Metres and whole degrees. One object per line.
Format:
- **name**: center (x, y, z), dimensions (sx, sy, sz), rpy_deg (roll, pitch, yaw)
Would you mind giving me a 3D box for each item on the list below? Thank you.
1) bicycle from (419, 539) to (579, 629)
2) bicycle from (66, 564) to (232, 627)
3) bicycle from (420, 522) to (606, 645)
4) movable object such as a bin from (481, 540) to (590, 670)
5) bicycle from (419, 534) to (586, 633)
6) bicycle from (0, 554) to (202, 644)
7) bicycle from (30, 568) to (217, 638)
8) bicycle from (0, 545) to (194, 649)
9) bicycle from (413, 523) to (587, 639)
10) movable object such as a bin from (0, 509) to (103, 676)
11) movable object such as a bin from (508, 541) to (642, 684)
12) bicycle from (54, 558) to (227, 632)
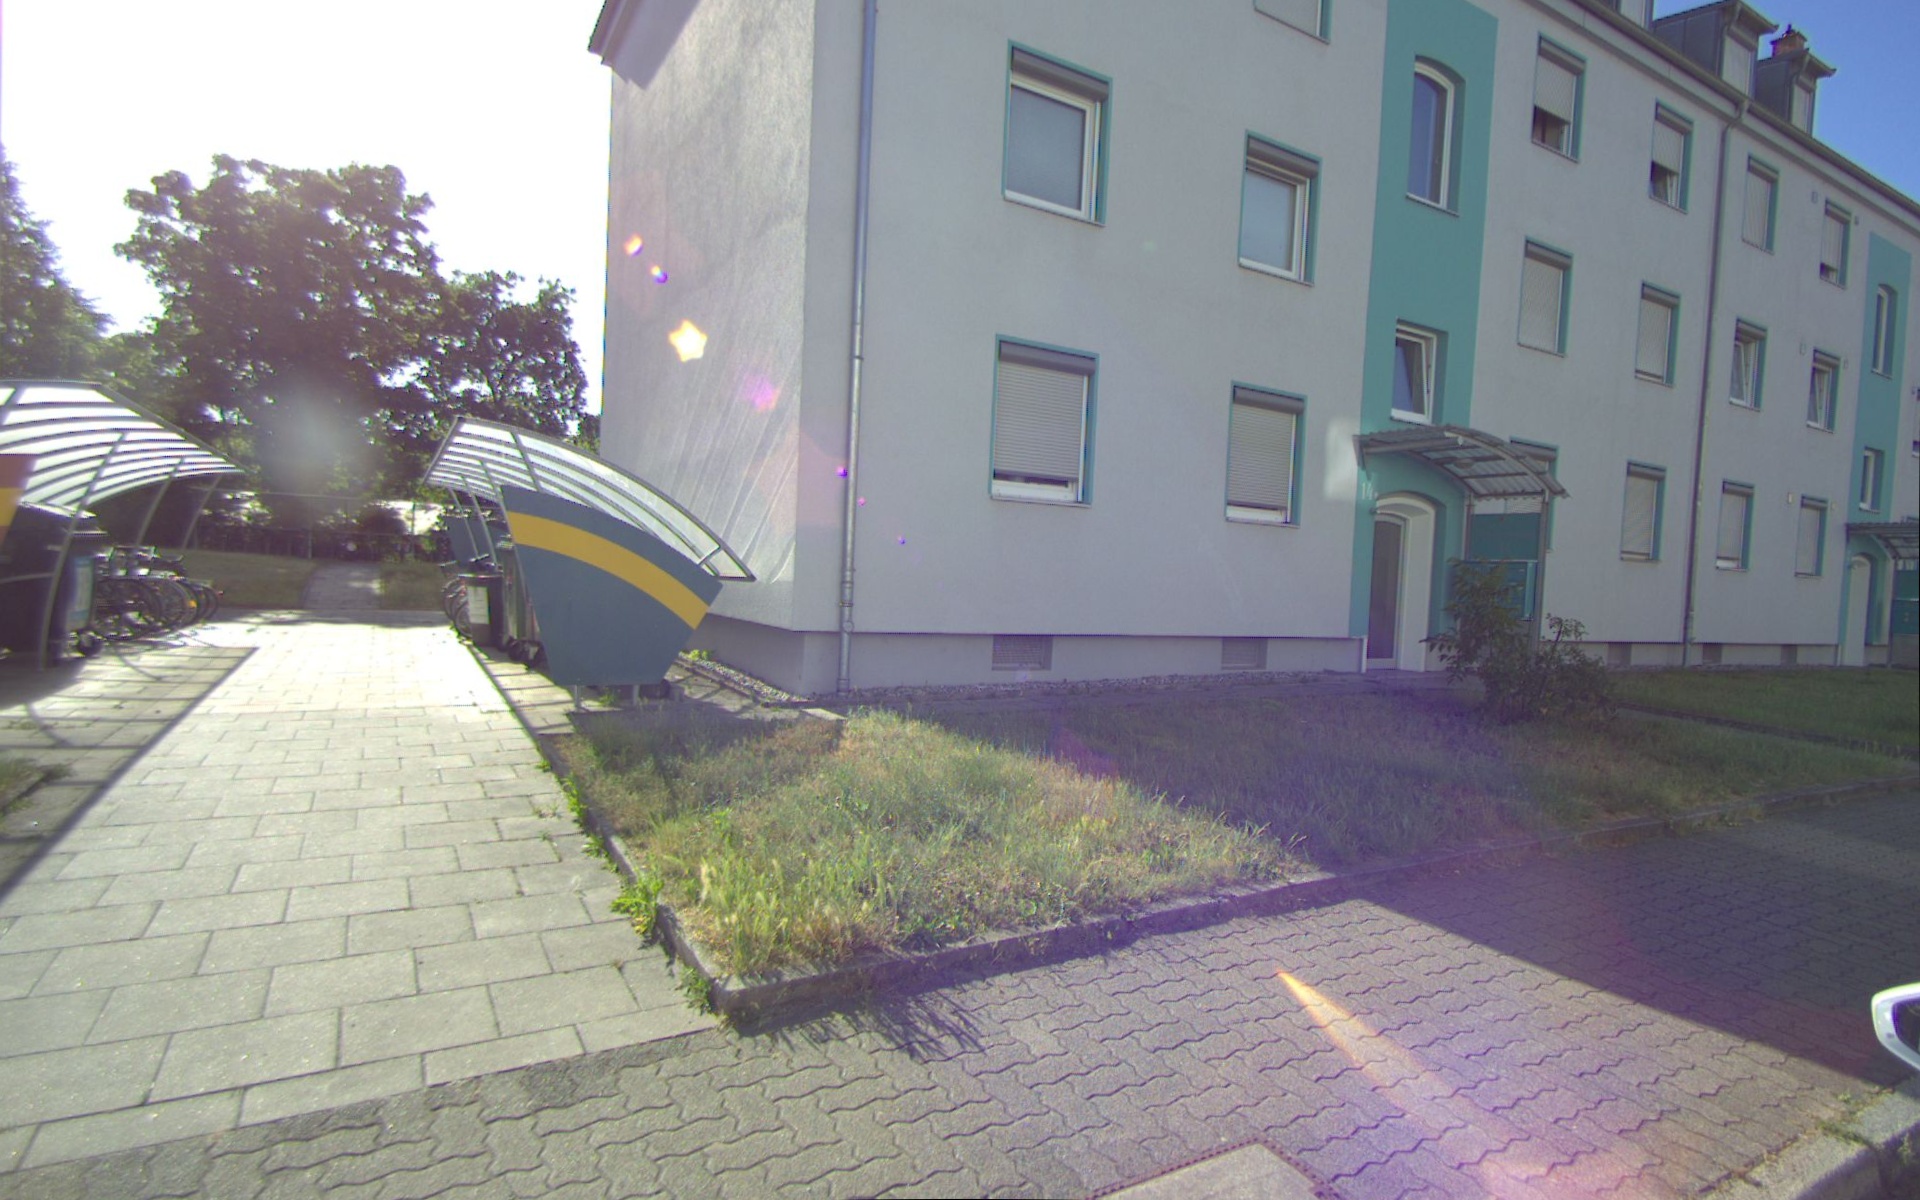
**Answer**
- **bicycle**: center (-7.107, -0.235, 15.508), dimensions (2.172, 1.290, 0.699), rpy_deg (1, 3, -31)
- **bicycle**: center (-11.181, -0.051, 13.912), dimensions (1.712, 0.808, 0.505), rpy_deg (1, 3, -31)
- **bicycle**: center (-5.933, -0.207, 13.372), dimensions (2.172, 1.530, 0.699), rpy_deg (1, 3, -31)
- **movable object such as a bin**: center (-4.882, 0.030, 11.511), dimensions (0.797, 1.366, 1.243), rpy_deg (0, 4, -40)
- **bicycle**: center (-6.749, -0.225, 14.855), dimensions (2.172, 1.375, 0.699), rpy_deg (1, 3, -31)
- **bicycle**: center (-10.018, -0.001, 11.644), dimensions (1.907, 0.961, 0.547), rpy_deg (1, 4, -31)
- **bicycle**: center (-10.356, 0.046, 12.507), dimensions (1.712, 0.808, 0.505), rpy_deg (1, 3, -31)
- **bicycle**: center (-9.693, -0.030, 11.075), dimensions (1.919, 1.081, 0.505), rpy_deg (1, 3, -31)
- **bicycle**: center (-6.470, -0.245, 14.173), dimensions (2.172, 1.546, 0.660), rpy_deg (1, 2, -30)
- **movable object such as a bin**: center (-8.633, -0.084, 9.254), dimensions (0.936, 1.461, 1.053), rpy_deg (1, 2, -31)
- **movable object such as a bin**: center (-4.004, 0.102, 10.406), dimensions (0.899, 1.374, 1.238), rpy_deg (1, 2, -41)
- **bicycle**: center (-10.885, -0.063, 13.408), dimensions (1.712, 0.921, 0.505), rpy_deg (1, 3, -31)
